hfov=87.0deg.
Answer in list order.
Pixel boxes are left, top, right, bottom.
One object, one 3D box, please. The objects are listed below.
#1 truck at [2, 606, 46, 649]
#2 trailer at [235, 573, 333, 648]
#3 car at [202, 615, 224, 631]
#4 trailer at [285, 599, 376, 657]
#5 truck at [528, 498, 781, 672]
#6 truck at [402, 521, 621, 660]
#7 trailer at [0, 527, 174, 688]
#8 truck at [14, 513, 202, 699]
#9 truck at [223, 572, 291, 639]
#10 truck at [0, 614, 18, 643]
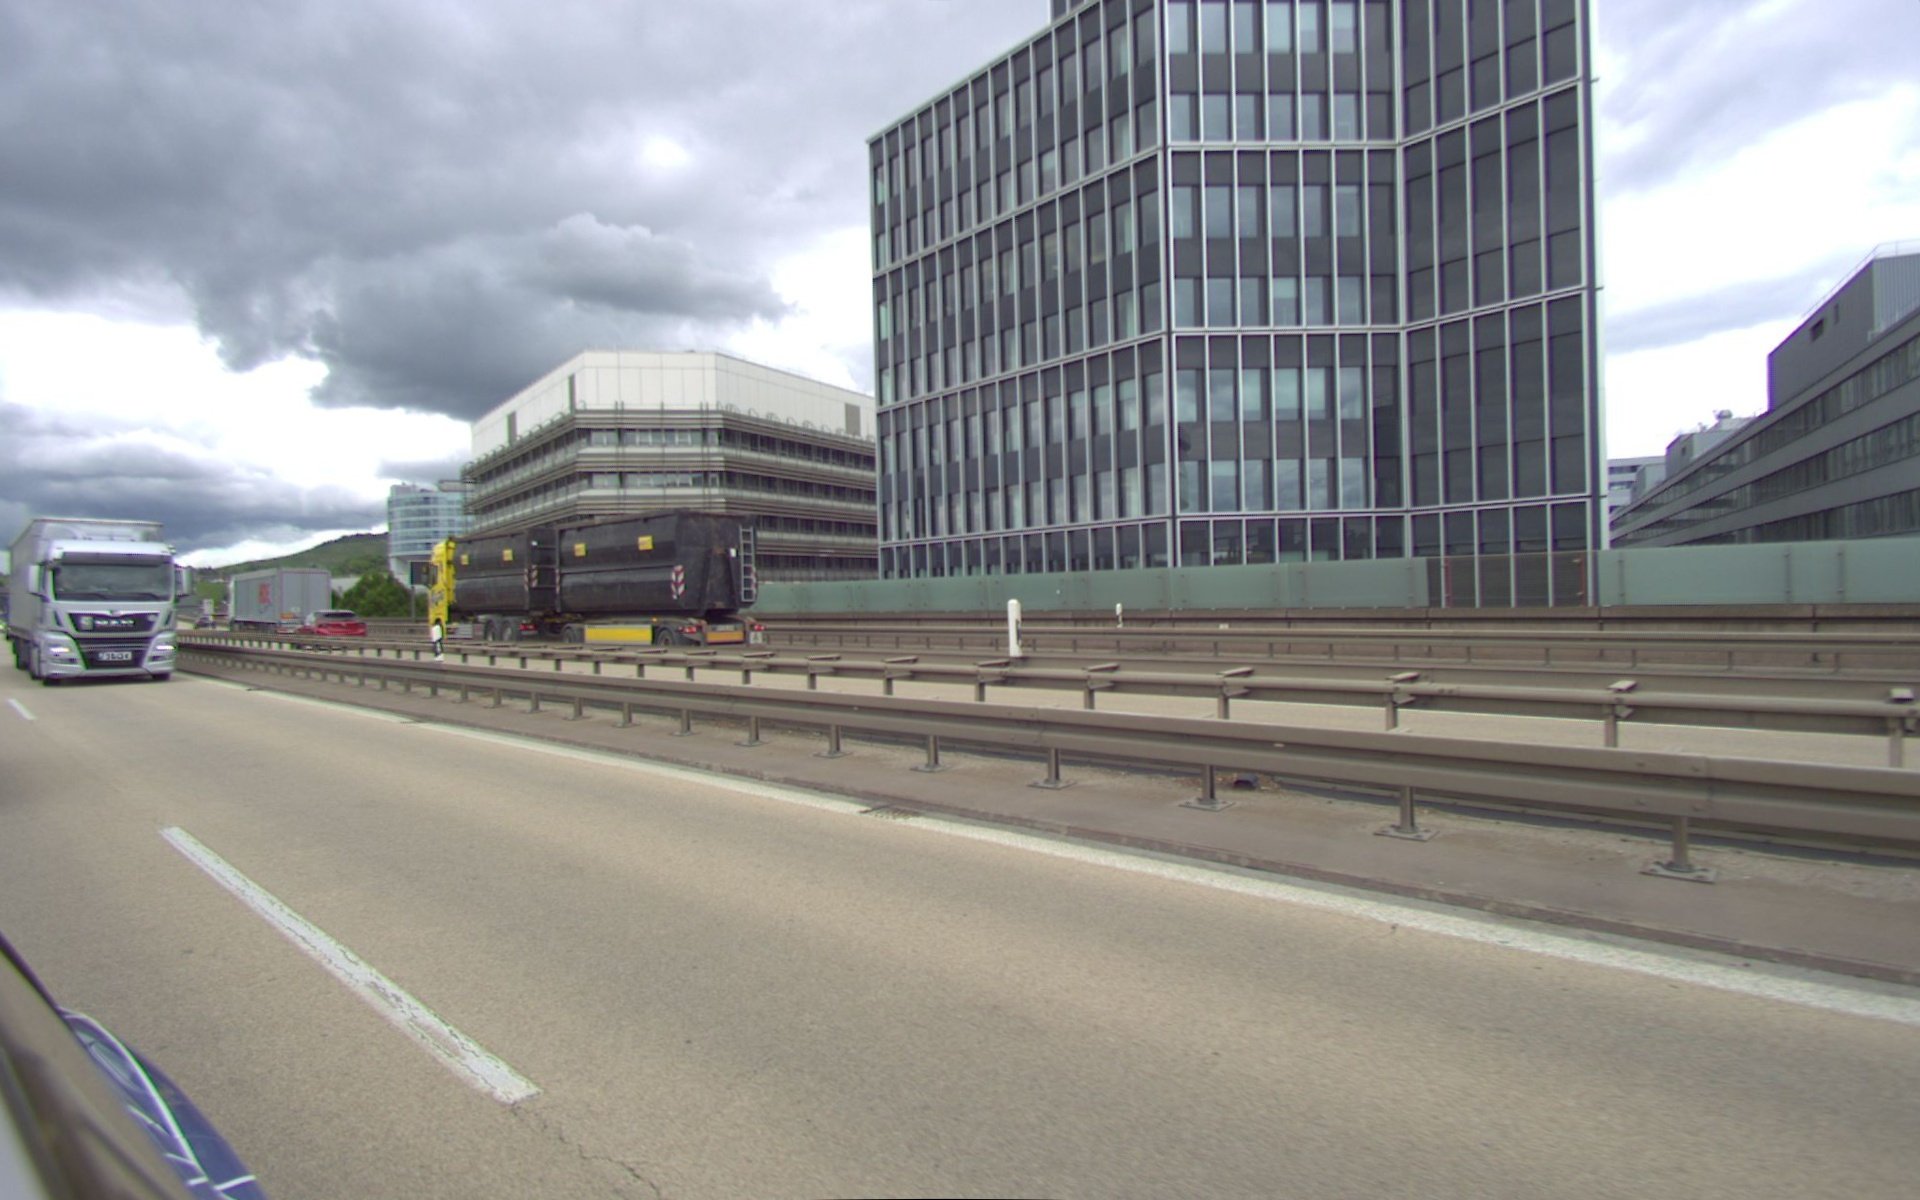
[{"bbox_3d":[-74.999,2.146,81.137,2.302,3.262,6.696,0,0,-41],"label":"truck"},{"bbox_3d":[-39.841,0.587,59.422,2.811,4.017,11.896,0,0,-43],"label":"trailer"},{"bbox_3d":[-83.876,2.559,113.609,1.662,1.662,4.366,-2,1,-41],"label":"car"},{"bbox_3d":[-23.350,1.015,37.469,4.002,2.029,1.971,-2,-1,45],"label":"trailer"},{"bbox_3d":[-8.681,-0.313,27.907,3.022,4.096,8.669,0,-1,-44],"label":"truck"},{"bbox_3d":[-15.991,-0.219,35.302,3.022,4.096,11.864,0,-1,-44],"label":"truck"},{"bbox_3d":[-26.790,0.219,30.759,3.145,4.056,11.772,-2,1,-45],"label":"trailer"},{"bbox_3d":[-21.270,0.114,25.159,3.098,4.067,5.692,-2,1,-44],"label":"truck"},{"bbox_3d":[-45.300,0.352,65.176,2.740,4.110,5.650,0,-1,-44],"label":"truck"},{"bbox_3d":[-108.074,3.194,114.180,2.302,3.262,6.696,0,0,-41],"label":"truck"}]
